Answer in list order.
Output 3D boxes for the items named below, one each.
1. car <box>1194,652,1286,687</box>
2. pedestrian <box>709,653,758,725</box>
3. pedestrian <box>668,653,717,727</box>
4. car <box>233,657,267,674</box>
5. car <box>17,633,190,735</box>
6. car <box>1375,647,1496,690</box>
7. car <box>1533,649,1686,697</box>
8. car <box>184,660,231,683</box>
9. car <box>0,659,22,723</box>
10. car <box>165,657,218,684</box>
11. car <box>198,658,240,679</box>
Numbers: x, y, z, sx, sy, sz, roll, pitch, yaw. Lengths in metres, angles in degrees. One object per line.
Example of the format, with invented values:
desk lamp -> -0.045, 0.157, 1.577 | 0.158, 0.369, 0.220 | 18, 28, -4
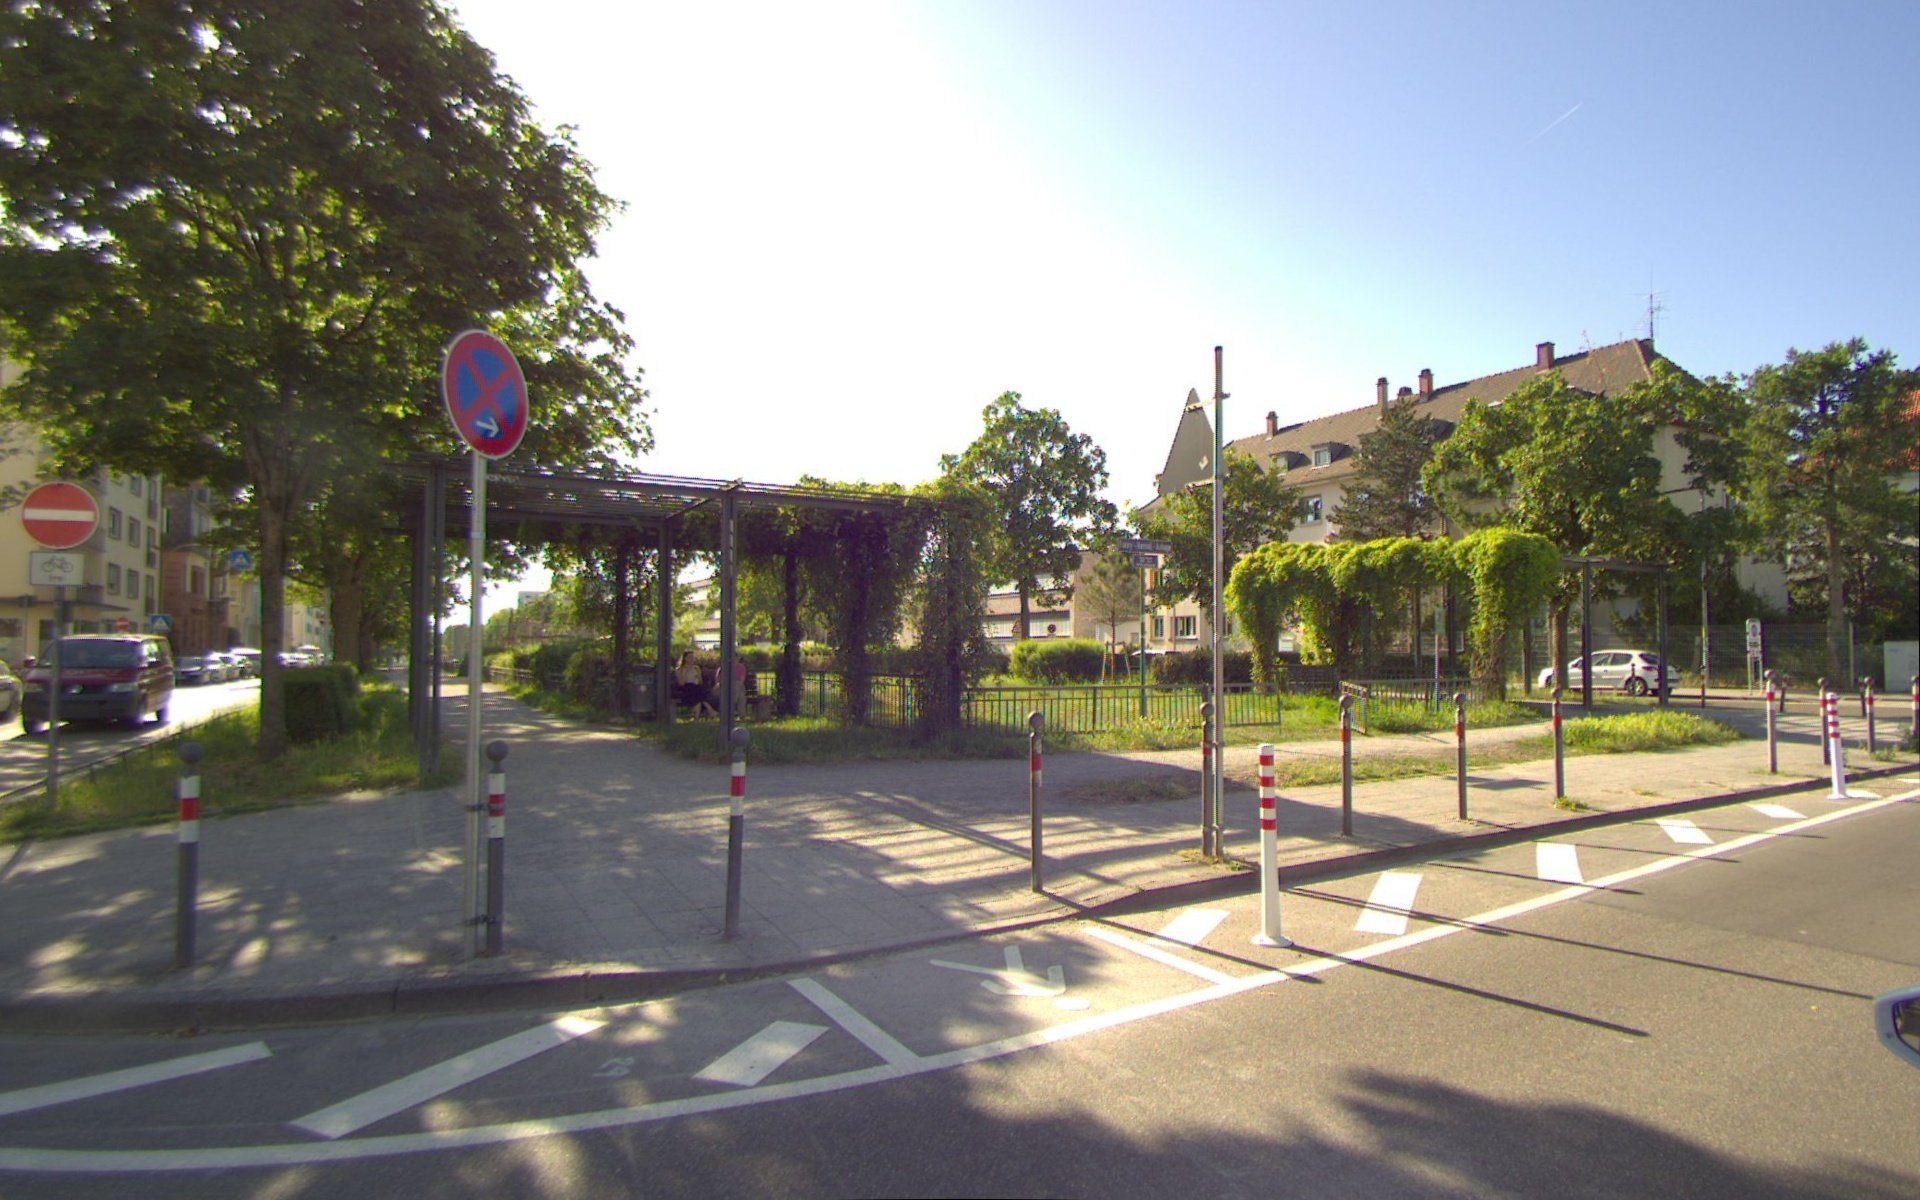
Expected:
car -> 12.720, 3.145, 45.897 | 1.780, 1.514, 3.969 | 3, -4, -30
pedestrian -> -3.796, 1.473, 16.801 | 0.592, 1.153, 0.869 | 1, -3, -29
pedestrian -> -4.385, 1.460, 16.476 | 0.592, 1.164, 0.840 | 1, -3, -29
car -> -49.645, 4.586, 70.270 | 1.662, 1.147, 3.718 | 1, -3, -32
car -> -18.579, 1.799, 22.064 | 1.874, 1.986, 4.850 | 3, -4, -29
car -> 17.493, 2.522, 37.110 | 1.657, 1.514, 3.797 | 3, -4, -30
car -> 20.619, 2.310, 32.043 | 1.687, 1.416, 3.747 | 3, -4, -30
car -> -40.734, 3.864, 54.418 | 1.662, 1.147, 3.718 | 1, -3, -31
car -> -22.067, 1.982, 21.822 | 1.664, 1.434, 3.870 | 5, -5, -32
car -> -38.036, 3.470, 49.807 | 1.662, 1.278, 3.769 | 1, -3, -31
car -> -43.941, 4.037, 59.625 | 1.662, 1.147, 3.718 | 1, -3, -32
